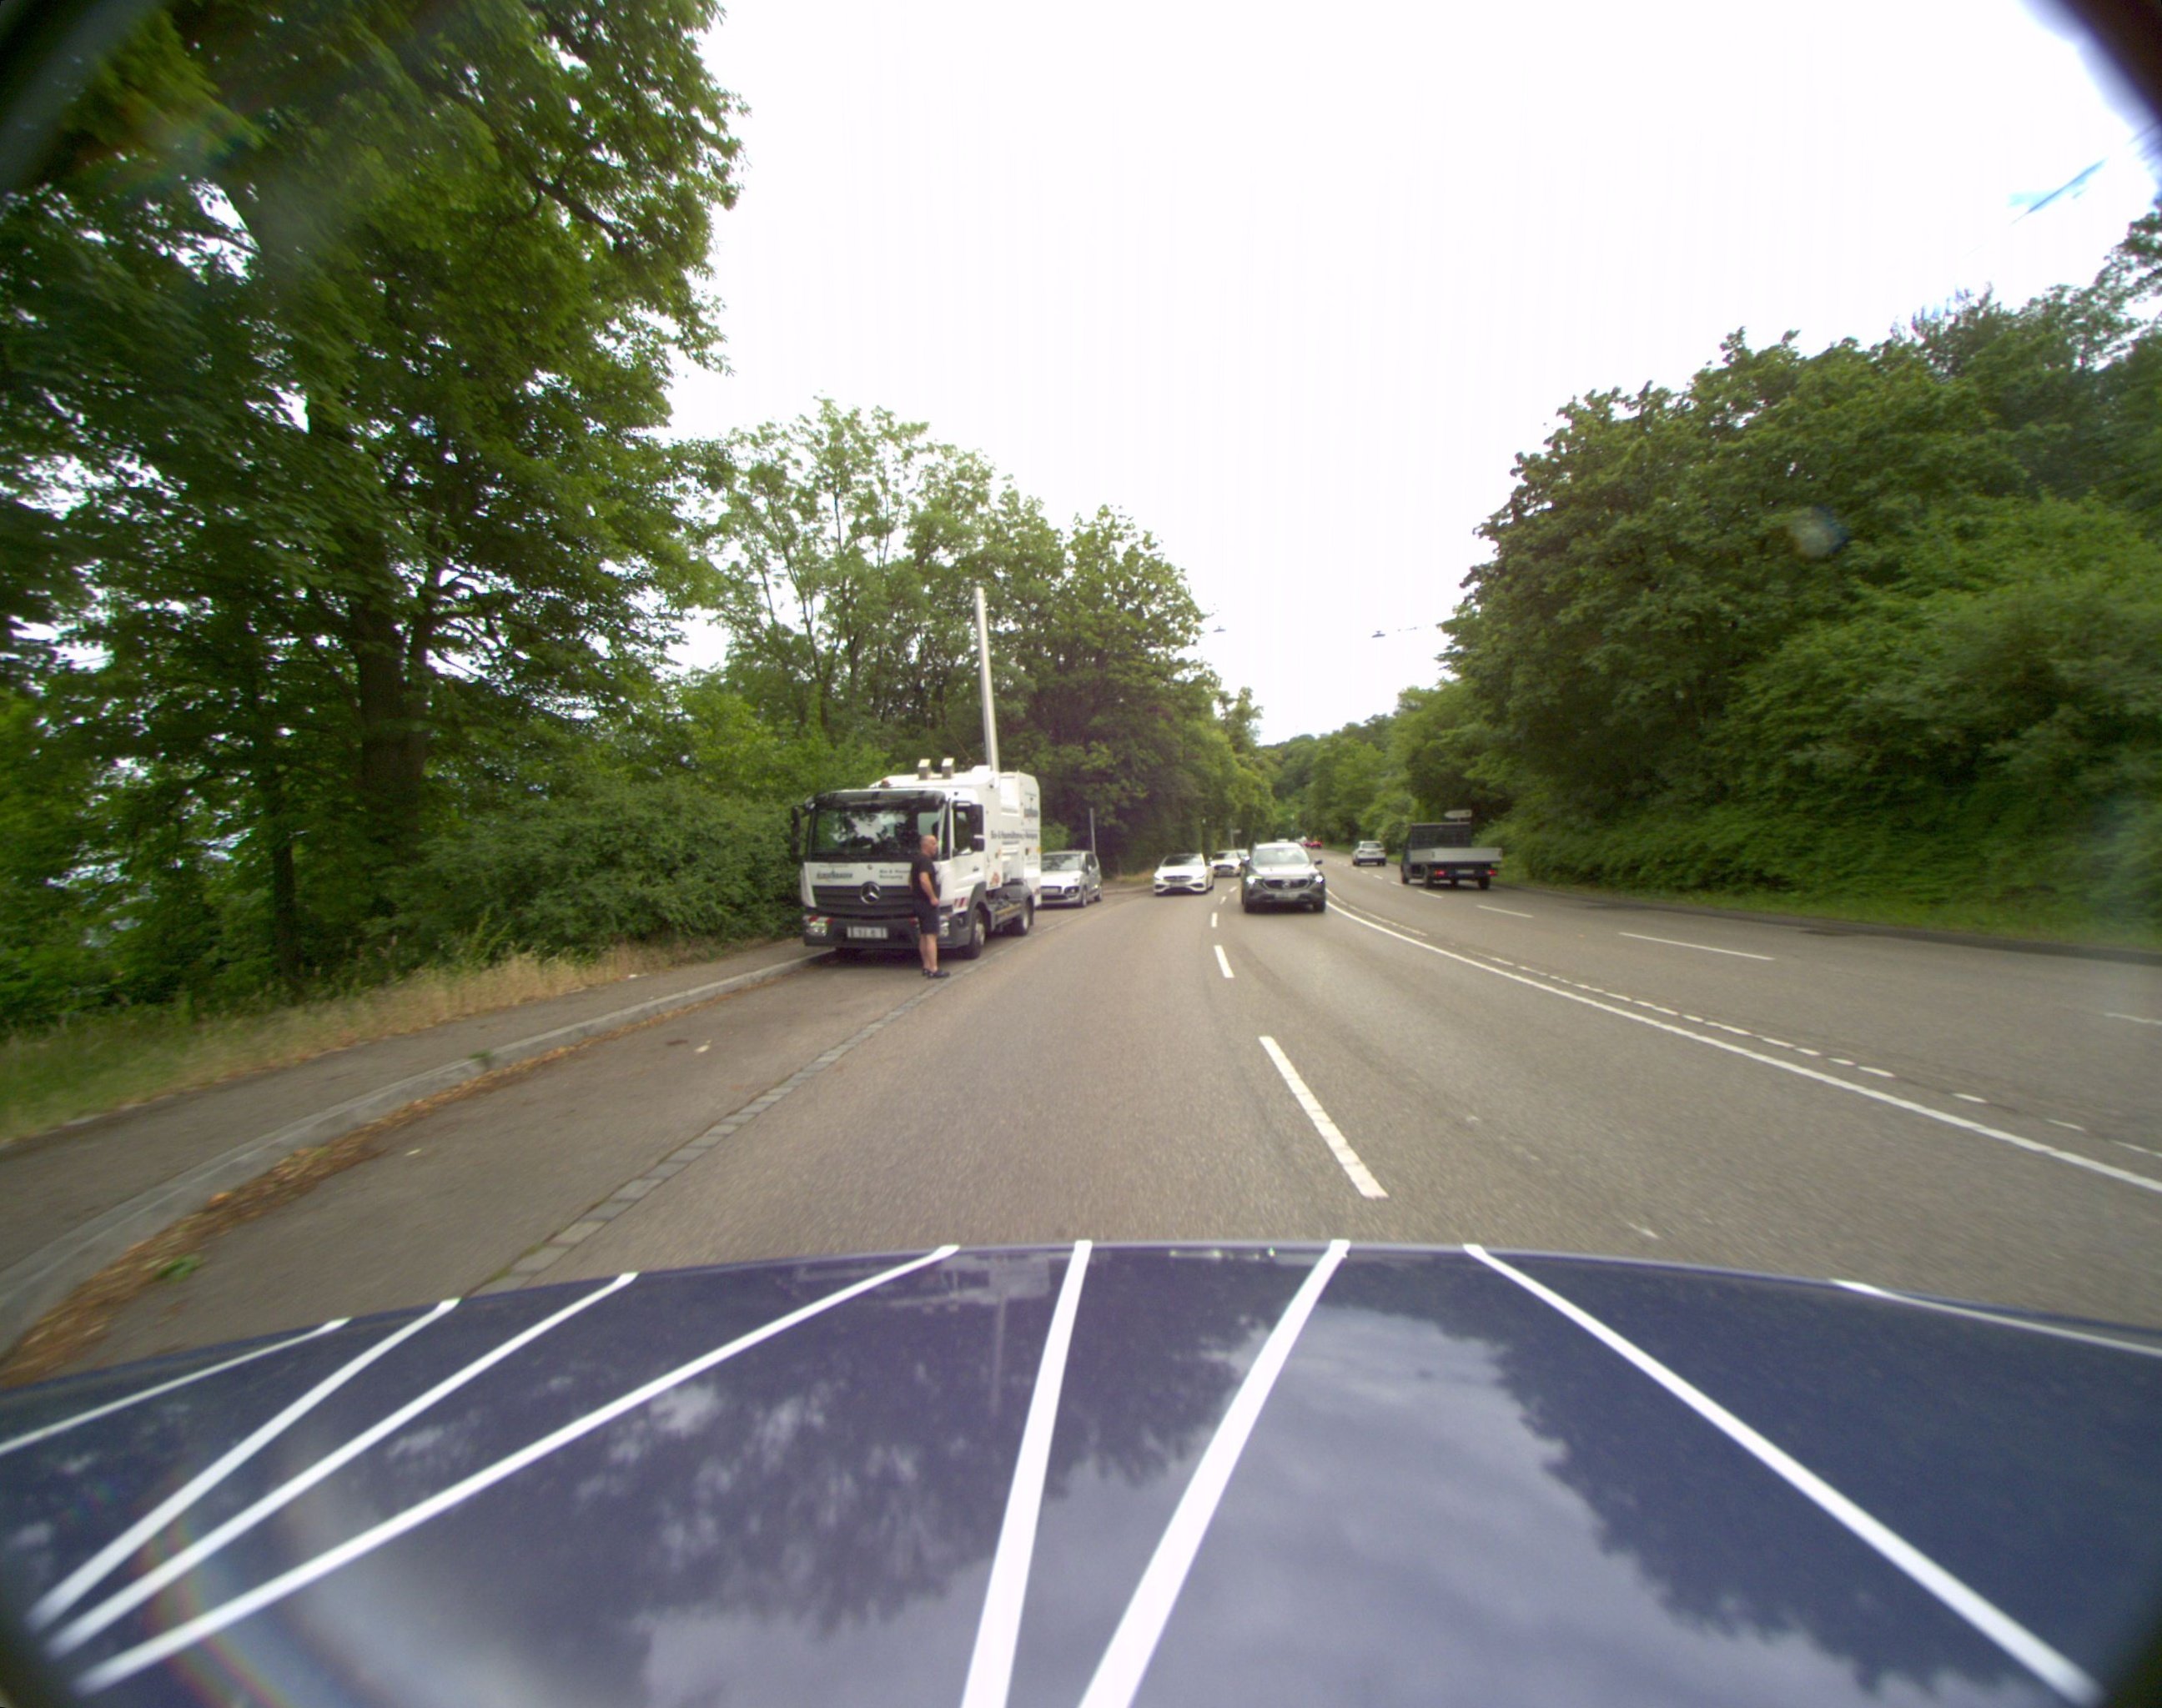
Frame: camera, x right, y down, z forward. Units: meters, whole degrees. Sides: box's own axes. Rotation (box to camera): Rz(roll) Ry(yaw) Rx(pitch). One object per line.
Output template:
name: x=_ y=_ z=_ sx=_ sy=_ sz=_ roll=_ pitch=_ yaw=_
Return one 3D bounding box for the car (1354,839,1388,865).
car: x=19.269 y=-0.161 z=50.577 sx=1.858 sy=1.685 sz=4.441 roll=1 pitch=1 yaw=18

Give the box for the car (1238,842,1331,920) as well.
car: x=4.908 y=0.572 z=18.817 sx=1.870 sy=1.653 sz=4.195 roll=-2 pitch=1 yaw=11

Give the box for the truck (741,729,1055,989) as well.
truck: x=-2.430 y=0.028 z=13.003 sx=2.486 sy=3.163 sz=7.233 roll=-1 pitch=1 yaw=10

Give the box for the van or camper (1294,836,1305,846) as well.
van or camper: x=43.737 y=-2.614 z=152.158 sx=1.996 sy=2.002 sz=5.374 roll=3 pitch=2 yaw=16

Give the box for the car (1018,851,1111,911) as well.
car: x=-0.388 y=0.737 z=22.531 sx=1.806 sy=1.516 sz=4.003 roll=-2 pitch=0 yaw=12

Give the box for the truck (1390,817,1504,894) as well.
truck: x=12.865 y=0.007 z=27.232 sx=2.164 sy=2.357 sz=6.684 roll=-2 pitch=0 yaw=13

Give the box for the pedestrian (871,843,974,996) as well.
pedestrian: x=-1.983 y=0.777 z=9.612 sx=0.918 sy=1.823 sz=0.985 roll=0 pitch=0 yaw=15

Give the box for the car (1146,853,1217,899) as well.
car: x=3.650 y=0.727 z=26.991 sx=1.895 sy=1.288 sz=4.331 roll=-5 pitch=0 yaw=15

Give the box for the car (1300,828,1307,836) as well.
car: x=68.857 y=-6.753 z=234.732 sx=1.890 sy=2.541 sz=4.919 roll=-2 pitch=1 yaw=15
